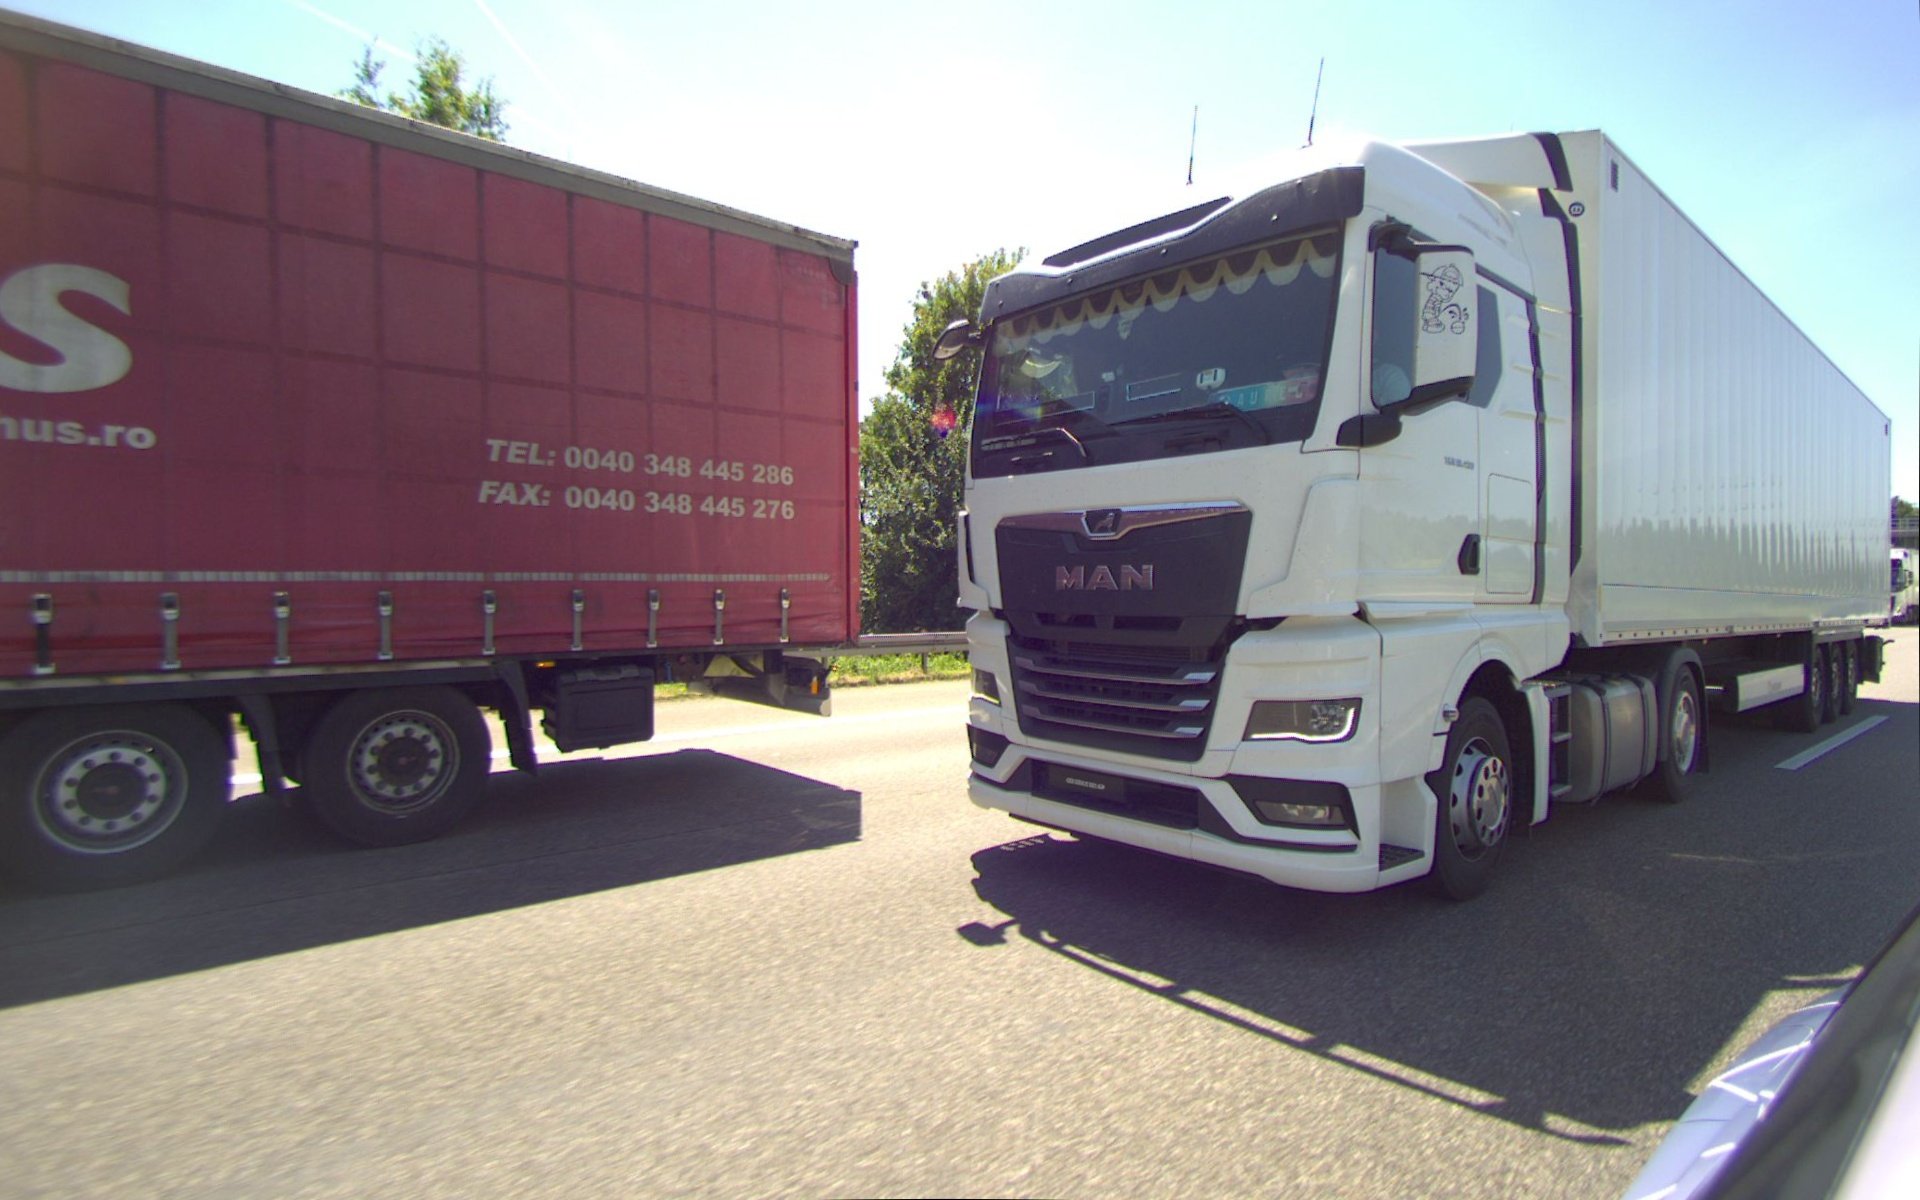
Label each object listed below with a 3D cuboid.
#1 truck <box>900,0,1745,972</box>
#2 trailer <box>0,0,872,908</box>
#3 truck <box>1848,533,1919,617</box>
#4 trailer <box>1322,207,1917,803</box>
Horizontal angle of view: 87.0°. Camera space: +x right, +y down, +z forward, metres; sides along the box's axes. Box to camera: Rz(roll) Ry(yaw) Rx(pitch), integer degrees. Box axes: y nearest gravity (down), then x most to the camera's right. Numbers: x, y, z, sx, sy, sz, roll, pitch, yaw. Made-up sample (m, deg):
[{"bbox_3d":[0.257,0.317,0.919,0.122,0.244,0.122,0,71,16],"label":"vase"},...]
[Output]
[{"bbox_3d":[2.793,-0.690,6.755,5.916,4.057,2.804,0,1,-42],"label":"truck"},{"bbox_3d":[-5.369,-0.783,5.100,10.468,4.294,2.320,-1,1,-41],"label":"trailer"},{"bbox_3d":[50.993,-1.293,54.753,10.786,4.144,3.031,0,1,-41],"label":"truck"},{"bbox_3d":[8.782,-0.692,12.108,12.350,4.086,2.799,0,1,-42],"label":"trailer"}]
